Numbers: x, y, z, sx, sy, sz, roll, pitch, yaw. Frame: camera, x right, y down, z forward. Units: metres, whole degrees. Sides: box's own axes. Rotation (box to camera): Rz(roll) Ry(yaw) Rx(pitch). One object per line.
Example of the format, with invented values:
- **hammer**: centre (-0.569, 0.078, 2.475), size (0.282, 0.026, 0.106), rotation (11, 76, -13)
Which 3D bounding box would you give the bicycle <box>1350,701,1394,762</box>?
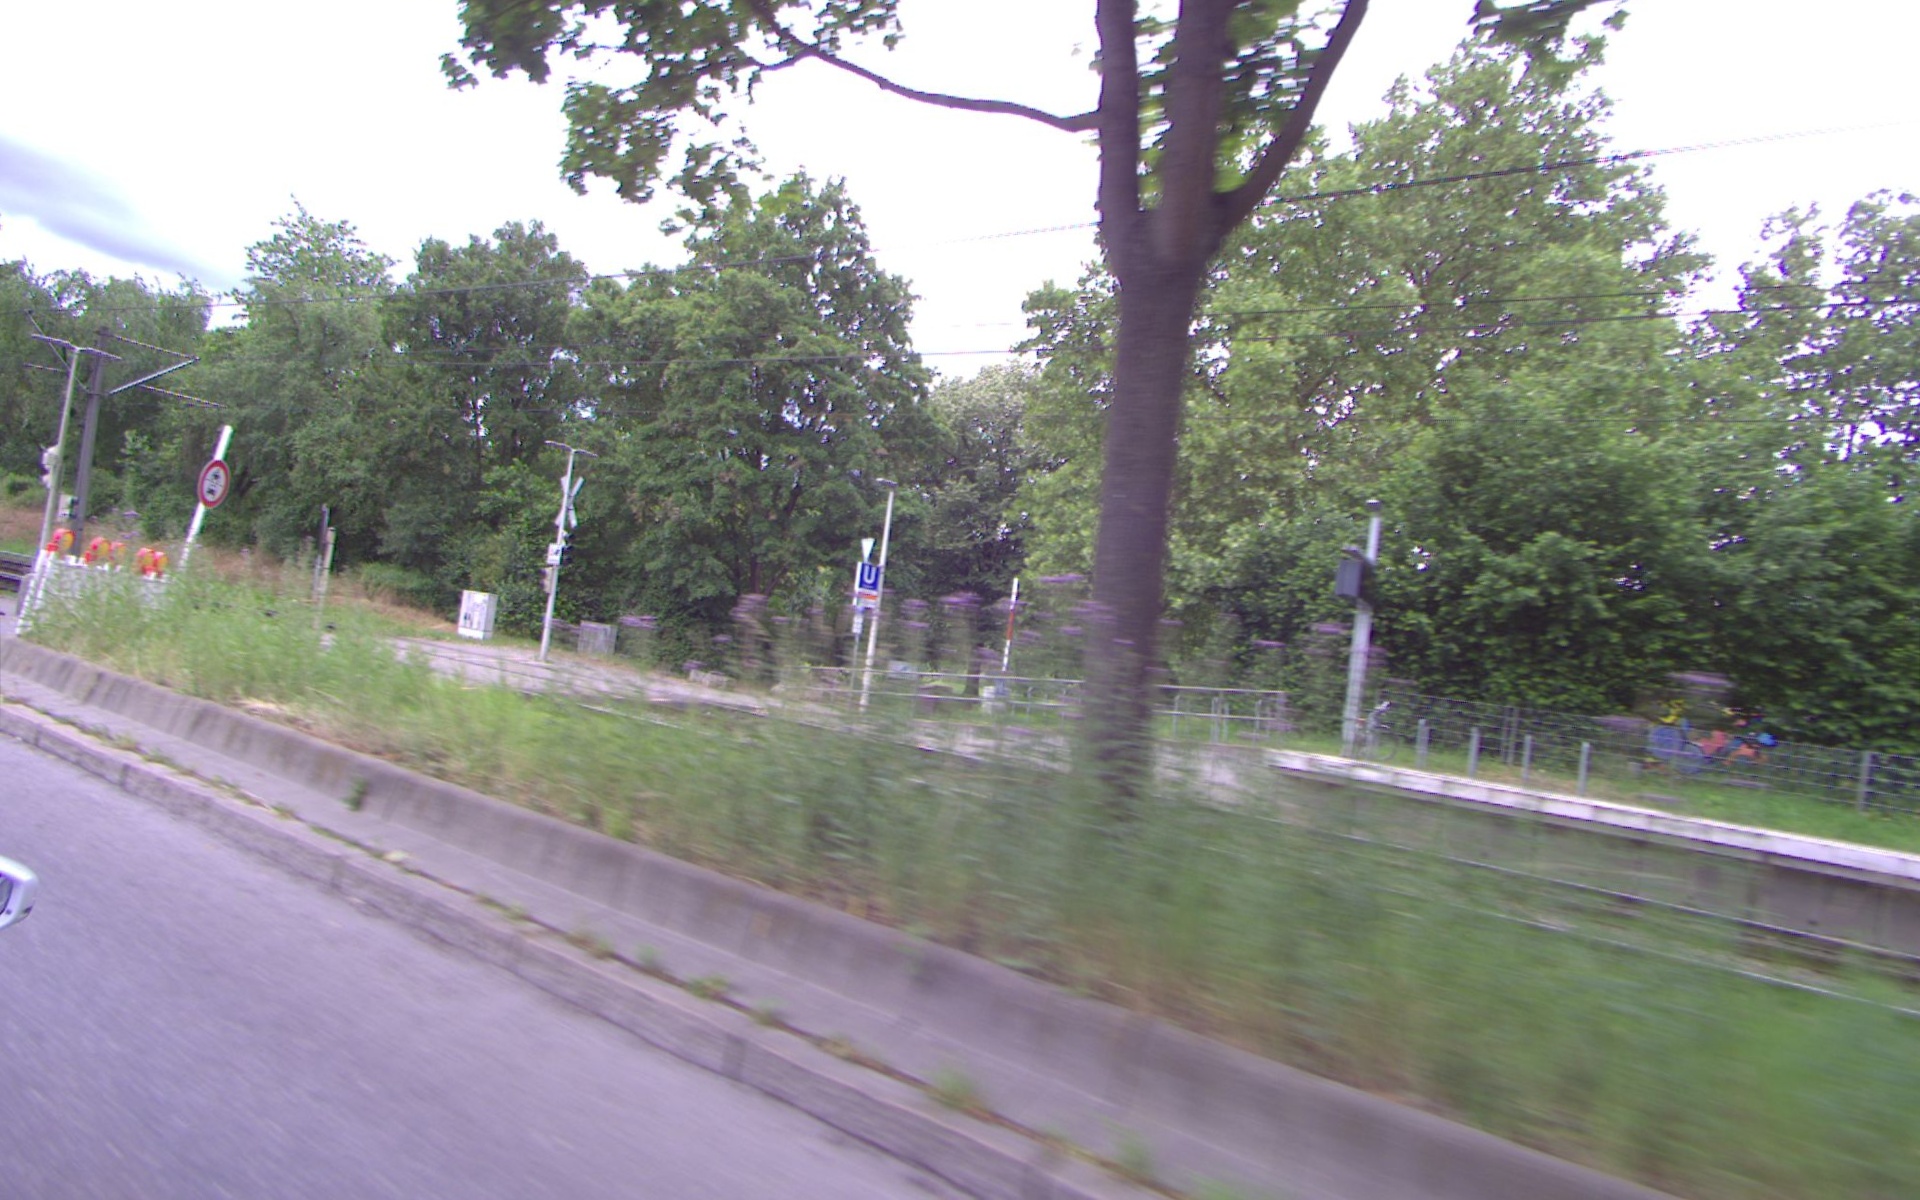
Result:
- **bicycle**: centre (7.426, 2.388, 18.113), size (0.442, 0.983, 1.514), rotation (7, -4, 30)
